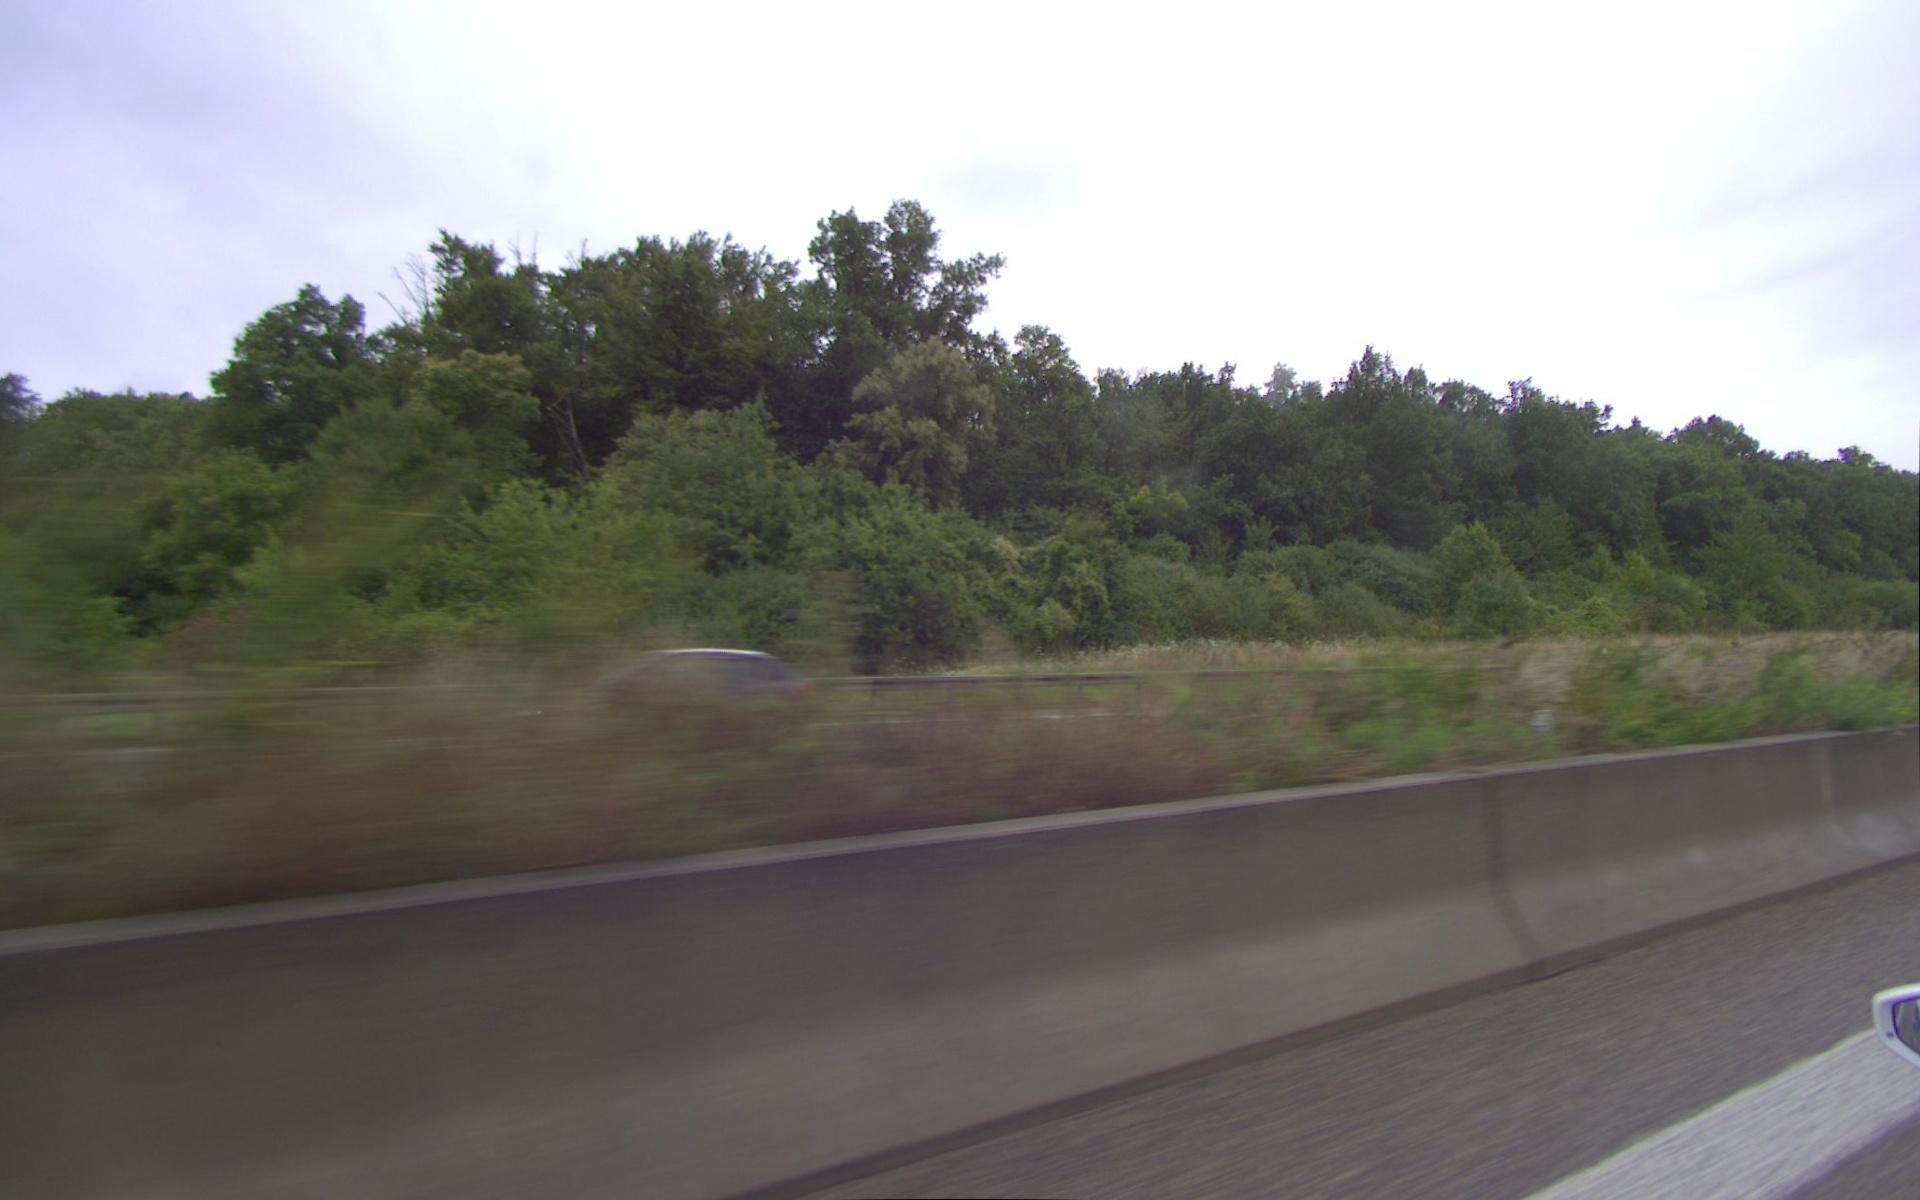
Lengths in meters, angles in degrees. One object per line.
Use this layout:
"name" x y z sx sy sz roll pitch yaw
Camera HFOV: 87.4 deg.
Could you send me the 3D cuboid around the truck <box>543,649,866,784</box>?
"truck" -3.435 1.464 13.689 3.954 1.546 1.729 1 -1 -31
